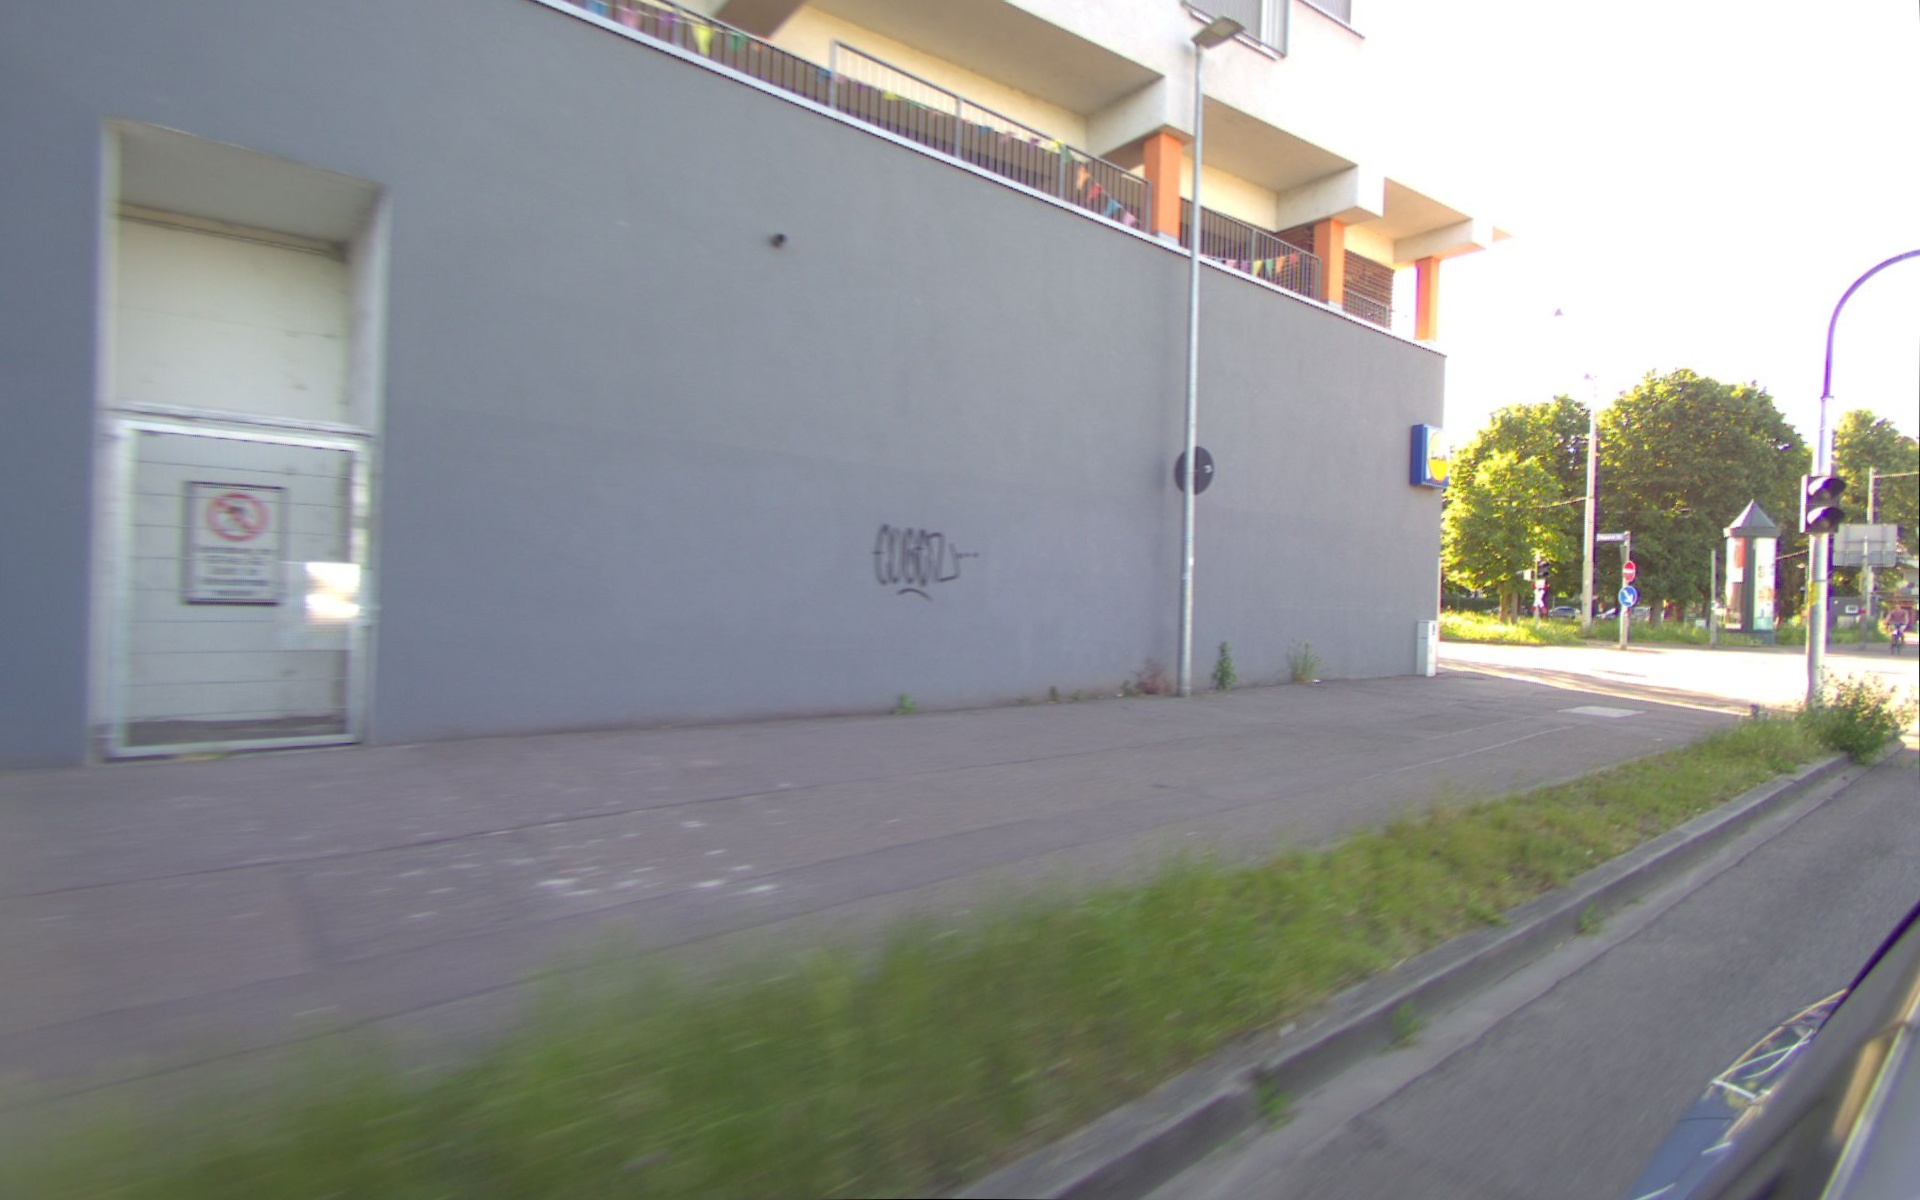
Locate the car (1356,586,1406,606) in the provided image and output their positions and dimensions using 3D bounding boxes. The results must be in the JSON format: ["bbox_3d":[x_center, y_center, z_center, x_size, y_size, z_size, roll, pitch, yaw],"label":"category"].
[{"bbox_3d":[42.033,-0.410,101.097,4.256,1.989,1.907,0,0,6],"label":"car"}]

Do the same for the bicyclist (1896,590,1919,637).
[{"bbox_3d":[34.179,0.497,36.235,1.129,1.619,0.813,2,1,-40],"label":"bicyclist"}]

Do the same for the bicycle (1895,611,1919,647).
[{"bbox_3d":[34.103,1.043,36.174,1.965,1.207,0.720,2,1,-41],"label":"bicycle"}]

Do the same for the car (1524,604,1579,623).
[{"bbox_3d":[57.284,1.285,98.085,4.112,1.738,1.998,0,0,5],"label":"car"}]

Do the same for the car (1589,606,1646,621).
[{"bbox_3d":[62.760,1.259,96.677,4.112,1.362,1.998,0,0,5],"label":"car"}]
